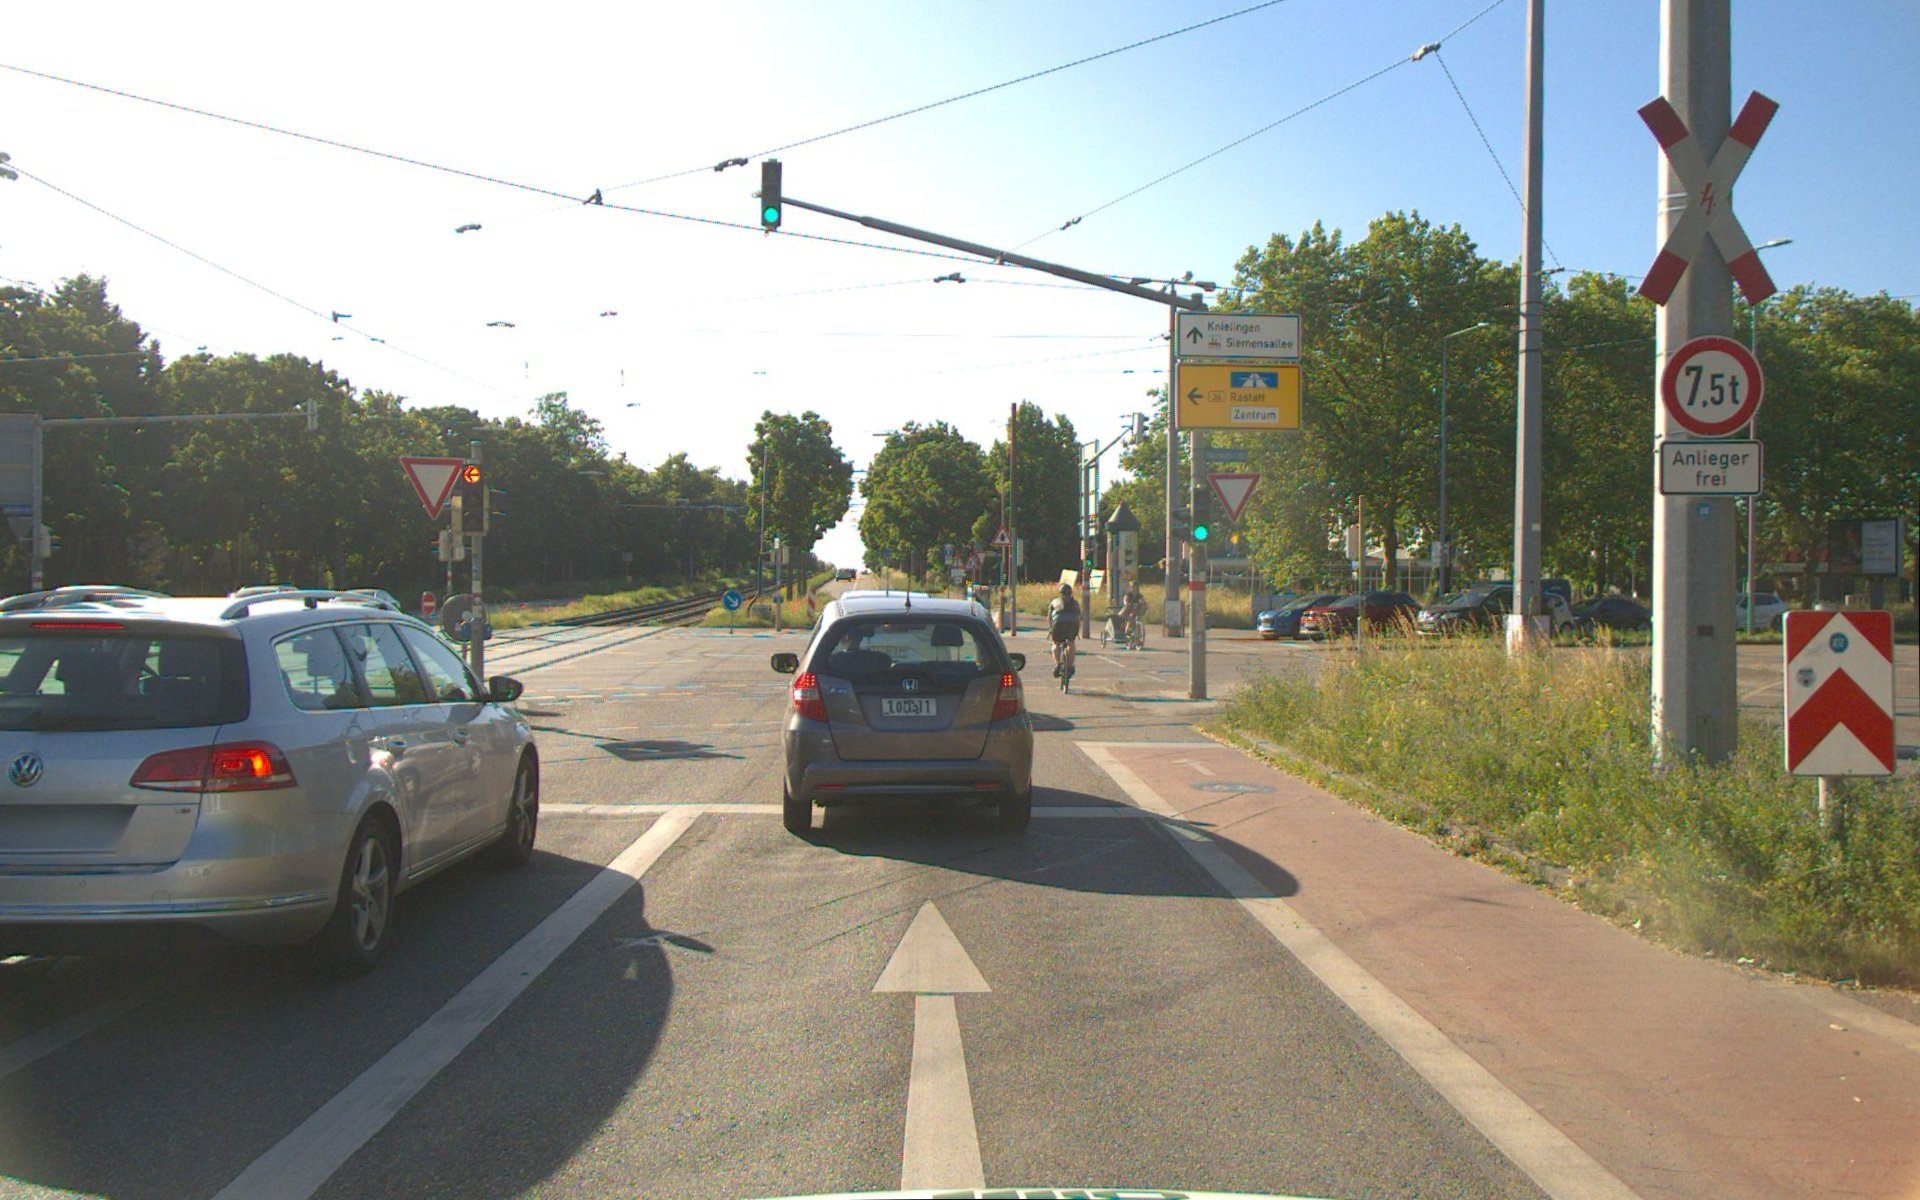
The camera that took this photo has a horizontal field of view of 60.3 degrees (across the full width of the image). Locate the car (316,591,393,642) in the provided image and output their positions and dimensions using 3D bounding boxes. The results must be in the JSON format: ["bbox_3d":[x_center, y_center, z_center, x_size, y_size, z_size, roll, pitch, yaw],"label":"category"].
[{"bbox_3d":[-21.305,0.559,58.334,1.758,1.717,3.994,0,0,-8],"label":"car"}]

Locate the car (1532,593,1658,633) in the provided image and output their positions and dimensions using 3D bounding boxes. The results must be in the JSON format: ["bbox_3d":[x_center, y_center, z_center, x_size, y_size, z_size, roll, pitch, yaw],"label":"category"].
[{"bbox_3d":[23.385,0.456,60.902,4.505,1.432,1.916,0,0,-29],"label":"car"}]

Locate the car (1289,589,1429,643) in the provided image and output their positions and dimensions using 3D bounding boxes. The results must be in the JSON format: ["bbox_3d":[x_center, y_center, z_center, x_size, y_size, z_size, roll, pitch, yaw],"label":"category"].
[{"bbox_3d":[12.325,0.471,51.103,4.026,1.628,1.801,0,0,-26],"label":"car"}]

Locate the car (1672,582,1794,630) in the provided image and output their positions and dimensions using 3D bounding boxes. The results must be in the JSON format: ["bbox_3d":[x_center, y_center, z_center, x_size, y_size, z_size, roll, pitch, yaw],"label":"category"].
[{"bbox_3d":[29.958,0.244,64.076,4.708,1.711,1.891,1,-1,-29],"label":"car"}]

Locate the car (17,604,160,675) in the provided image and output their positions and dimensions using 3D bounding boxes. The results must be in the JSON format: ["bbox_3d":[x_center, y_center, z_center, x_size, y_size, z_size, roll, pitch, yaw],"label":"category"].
[{"bbox_3d":[-19.468,0.847,37.106,1.651,1.484,3.697,0,0,-8],"label":"car"}]

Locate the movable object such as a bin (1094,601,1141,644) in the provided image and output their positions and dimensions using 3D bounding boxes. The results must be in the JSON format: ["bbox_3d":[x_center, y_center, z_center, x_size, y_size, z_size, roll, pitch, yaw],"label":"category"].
[{"bbox_3d":[4.132,0.586,43.537,0.892,1.087,1.313,0,0,-11],"label":"movable object such as a bin"}]

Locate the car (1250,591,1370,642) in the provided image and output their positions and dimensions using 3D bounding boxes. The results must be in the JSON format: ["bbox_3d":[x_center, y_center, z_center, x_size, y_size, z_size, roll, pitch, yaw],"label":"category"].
[{"bbox_3d":[11.708,0.528,55.282,3.807,1.628,1.696,0,0,-30],"label":"car"}]

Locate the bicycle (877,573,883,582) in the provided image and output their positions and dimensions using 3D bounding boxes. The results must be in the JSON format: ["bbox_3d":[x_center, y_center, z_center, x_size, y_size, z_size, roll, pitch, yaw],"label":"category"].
[{"bbox_3d":[-10.231,-2.862,211.574,0.801,1.066,2.505,1,-1,-2],"label":"bicycle"}]

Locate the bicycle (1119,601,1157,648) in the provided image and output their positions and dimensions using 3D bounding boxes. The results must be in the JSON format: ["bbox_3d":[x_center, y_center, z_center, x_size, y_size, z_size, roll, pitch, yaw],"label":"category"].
[{"bbox_3d":[4.456,0.604,41.552,0.458,1.138,1.816,0,0,-10],"label":"bicycle"}]

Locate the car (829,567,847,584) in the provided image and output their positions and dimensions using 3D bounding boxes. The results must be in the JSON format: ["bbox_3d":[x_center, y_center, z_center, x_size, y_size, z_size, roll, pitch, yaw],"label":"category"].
[{"bbox_3d":[-14.225,-2.854,193.382,1.953,2.049,3.998,0,0,-2],"label":"car"}]

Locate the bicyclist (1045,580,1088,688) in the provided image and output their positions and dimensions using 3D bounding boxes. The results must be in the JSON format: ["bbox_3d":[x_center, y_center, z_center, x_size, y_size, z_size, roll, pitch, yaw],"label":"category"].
[{"bbox_3d":[1.709,0.539,26.599,0.603,1.709,0.933,0,0,-2],"label":"bicyclist"}]

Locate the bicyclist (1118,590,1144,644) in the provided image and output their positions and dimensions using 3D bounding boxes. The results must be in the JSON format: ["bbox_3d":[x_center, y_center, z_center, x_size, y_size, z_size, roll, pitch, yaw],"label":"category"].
[{"bbox_3d":[4.364,0.423,42.225,0.500,1.364,0.564,0,0,-10],"label":"bicyclist"}]

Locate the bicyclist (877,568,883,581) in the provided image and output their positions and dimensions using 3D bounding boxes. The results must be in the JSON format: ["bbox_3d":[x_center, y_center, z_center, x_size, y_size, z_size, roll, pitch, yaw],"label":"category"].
[{"bbox_3d":[-10.216,-3.243,211.599,0.801,1.551,0.965,1,-1,-2],"label":"bicyclist"}]

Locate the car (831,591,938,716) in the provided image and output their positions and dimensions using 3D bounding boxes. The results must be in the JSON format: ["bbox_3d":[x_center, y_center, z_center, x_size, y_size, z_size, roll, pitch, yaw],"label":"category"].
[{"bbox_3d":[-1.006,0.667,22.173,1.324,1.554,3.122,0,0,-3],"label":"car"}]

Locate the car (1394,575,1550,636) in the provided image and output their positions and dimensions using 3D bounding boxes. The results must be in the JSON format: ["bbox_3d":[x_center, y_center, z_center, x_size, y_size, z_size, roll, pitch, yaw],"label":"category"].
[{"bbox_3d":[15.079,0.143,48.640,4.432,1.741,1.902,0,0,-30],"label":"car"}]

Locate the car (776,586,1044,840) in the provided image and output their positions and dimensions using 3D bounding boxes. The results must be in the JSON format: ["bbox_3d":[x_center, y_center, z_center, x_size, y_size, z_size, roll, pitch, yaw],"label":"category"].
[{"bbox_3d":[-0.335,0.685,11.948,1.637,1.542,3.673,0,0,-1],"label":"car"}]

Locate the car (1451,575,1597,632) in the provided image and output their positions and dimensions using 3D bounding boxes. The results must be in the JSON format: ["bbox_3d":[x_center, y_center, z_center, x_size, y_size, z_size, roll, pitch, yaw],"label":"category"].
[{"bbox_3d":[21.533,0.141,63.188,5.019,2.106,2.122,0,0,-16],"label":"car"}]

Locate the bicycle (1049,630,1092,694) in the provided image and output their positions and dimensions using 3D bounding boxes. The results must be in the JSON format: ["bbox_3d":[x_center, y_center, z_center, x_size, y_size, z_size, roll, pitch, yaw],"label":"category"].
[{"bbox_3d":[1.760,0.978,26.553,0.513,0.939,2.088,0,0,-1],"label":"bicycle"}]

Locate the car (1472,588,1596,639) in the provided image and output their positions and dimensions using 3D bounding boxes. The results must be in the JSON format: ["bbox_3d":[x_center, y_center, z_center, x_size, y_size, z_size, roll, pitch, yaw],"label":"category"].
[{"bbox_3d":[18.971,0.425,54.647,3.800,1.628,1.699,0,0,-26],"label":"car"}]

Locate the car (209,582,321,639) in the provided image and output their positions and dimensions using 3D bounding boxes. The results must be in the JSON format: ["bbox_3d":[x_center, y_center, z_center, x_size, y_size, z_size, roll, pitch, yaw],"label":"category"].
[{"bbox_3d":[-20.700,0.279,49.458,1.778,1.624,4.687,0,0,-6],"label":"car"}]

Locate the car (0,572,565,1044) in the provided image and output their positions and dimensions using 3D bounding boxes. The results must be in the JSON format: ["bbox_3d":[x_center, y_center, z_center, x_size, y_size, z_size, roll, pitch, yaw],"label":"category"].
[{"bbox_3d":[-3.200,0.685,7.670,1.839,1.554,4.419,0,0,-3],"label":"car"}]
